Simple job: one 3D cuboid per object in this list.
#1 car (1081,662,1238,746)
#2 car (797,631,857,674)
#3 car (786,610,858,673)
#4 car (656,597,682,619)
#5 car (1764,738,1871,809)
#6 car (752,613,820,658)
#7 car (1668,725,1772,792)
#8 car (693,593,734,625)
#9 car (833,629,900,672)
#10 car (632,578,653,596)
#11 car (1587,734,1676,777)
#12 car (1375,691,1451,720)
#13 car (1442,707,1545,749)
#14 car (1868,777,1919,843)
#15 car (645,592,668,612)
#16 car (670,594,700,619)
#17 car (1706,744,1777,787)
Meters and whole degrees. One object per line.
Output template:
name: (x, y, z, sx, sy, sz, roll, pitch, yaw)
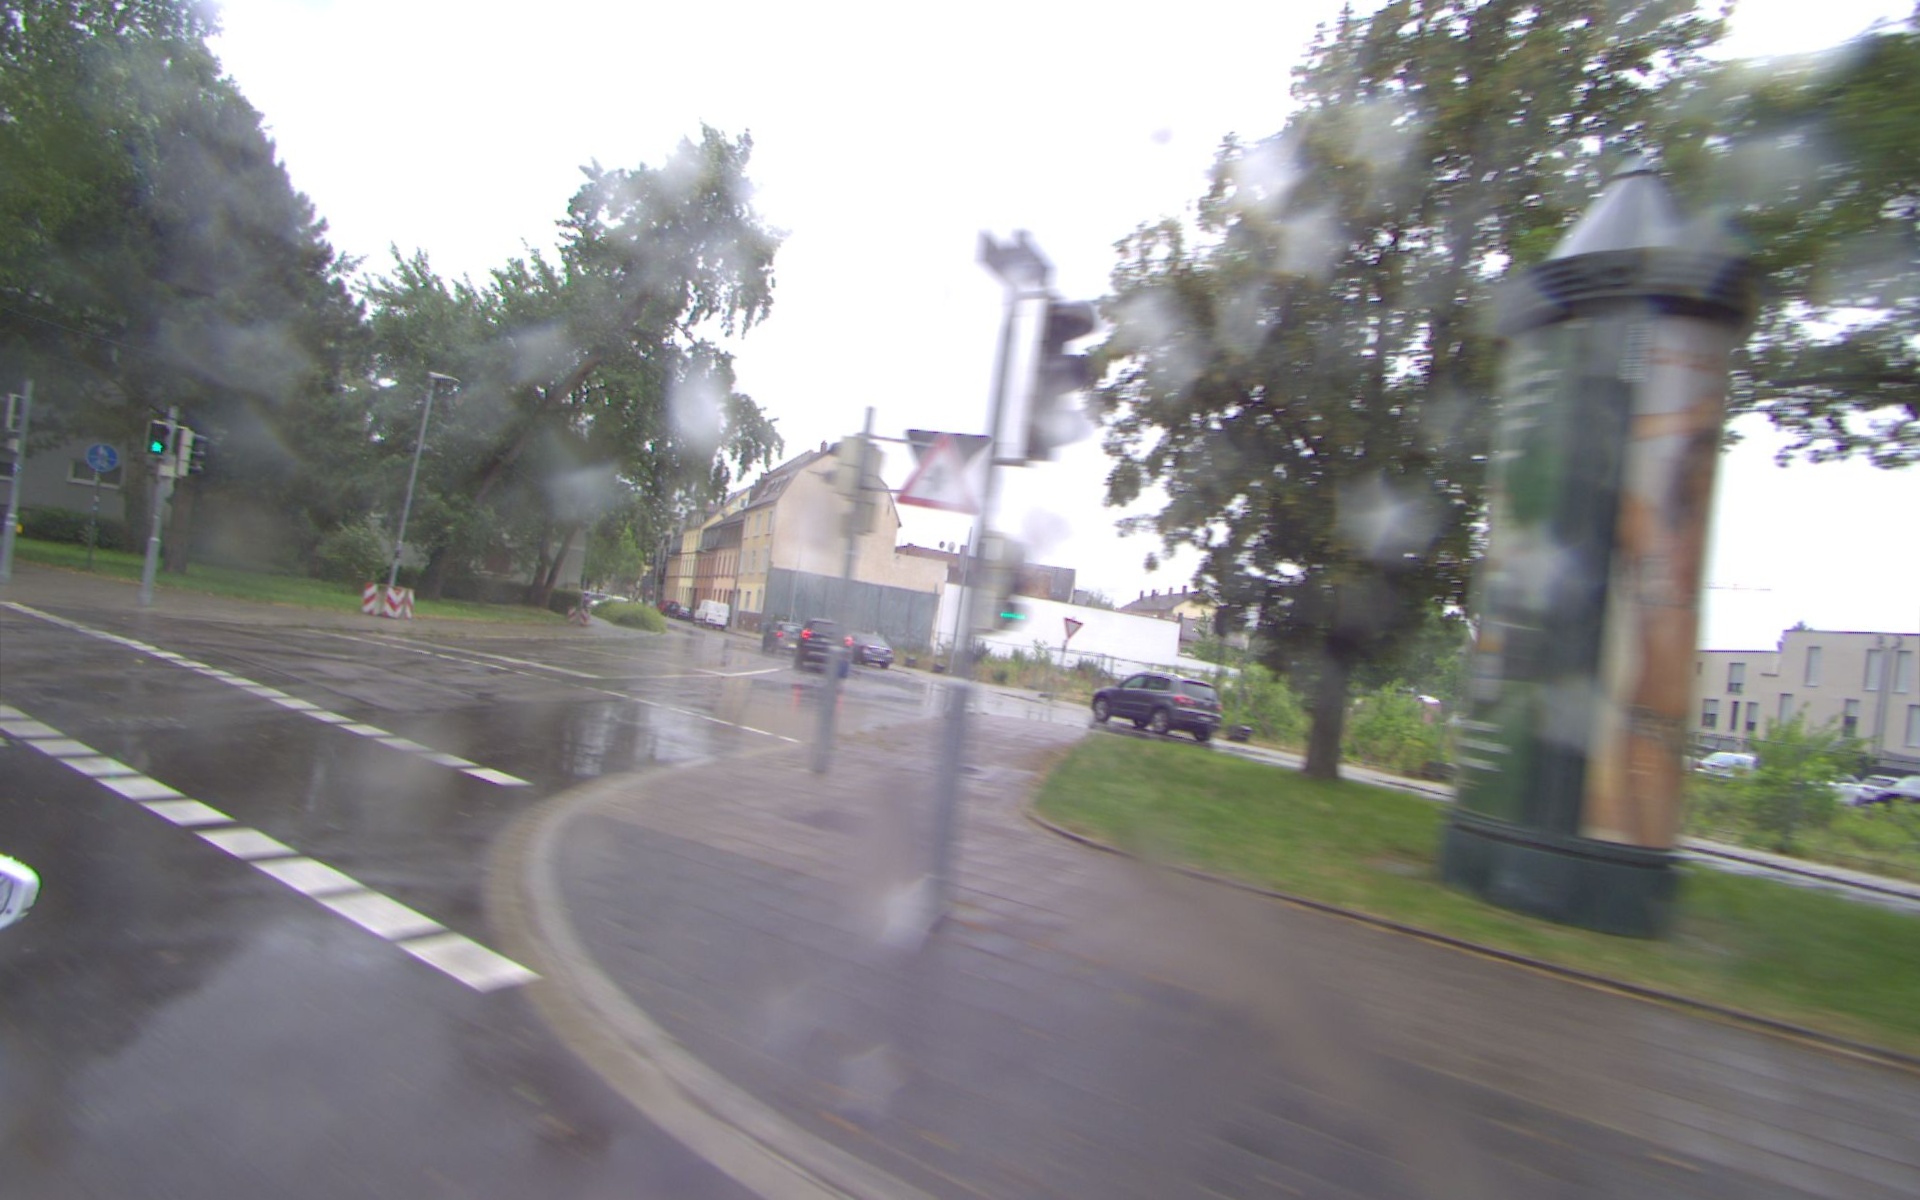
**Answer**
car: (5.529, 2.897, 28.468, 1.841, 1.672, 4.273, 10, -3, -29)
car: (-7.233, 2.814, 54.298, 1.860, 1.829, 4.065, 10, -3, -25)
car: (-4.838, 1.405, 34.855, 1.968, 1.763, 4.298, 9, -3, -11)
car: (-31.379, 0.834, 108.424, 1.976, 2.036, 3.979, 9, -3, -24)
car: (31.576, 6.396, 37.018, 3.968, 2.036, 1.981, 11, -3, -35)
car: (-8.269, 1.655, 47.451, 1.977, 1.620, 4.065, 10, -3, -25)
car: (29.513, 6.169, 39.063, 3.968, 2.036, 1.981, 11, -3, -35)
car: (-20.927, 0.733, 85.259, 2.328, 2.232, 4.590, 9, -3, -23)
car: (-4.584, 2.410, 48.449, 1.954, 1.566, 4.512, 9, -3, -20)
car: (-42.727, -1.766, 135.306, 1.975, 2.037, 3.978, 8, -1, -24)
car: (28.909, 6.676, 43.264, 3.964, 1.280, 1.658, 11, -3, -32)
car: (28.021, 6.487, 62.337, 1.743, 1.148, 4.388, 9, -3, -16)
car: (25.938, 6.207, 48.974, 1.756, 1.280, 3.959, 10, -3, -38)
car: (32.680, 7.229, 34.044, 3.968, 1.880, 1.981, 11, -3, -36)
car: (-36.750, 0.232, 121.610, 1.976, 2.036, 3.979, 9, -3, -24)
car: (-27.062, 0.601, 98.887, 2.098, 2.036, 3.979, 9, -3, -24)
car: (46.679, 9.863, 60.057, 3.955, 1.935, 1.661, 10, -2, -26)
